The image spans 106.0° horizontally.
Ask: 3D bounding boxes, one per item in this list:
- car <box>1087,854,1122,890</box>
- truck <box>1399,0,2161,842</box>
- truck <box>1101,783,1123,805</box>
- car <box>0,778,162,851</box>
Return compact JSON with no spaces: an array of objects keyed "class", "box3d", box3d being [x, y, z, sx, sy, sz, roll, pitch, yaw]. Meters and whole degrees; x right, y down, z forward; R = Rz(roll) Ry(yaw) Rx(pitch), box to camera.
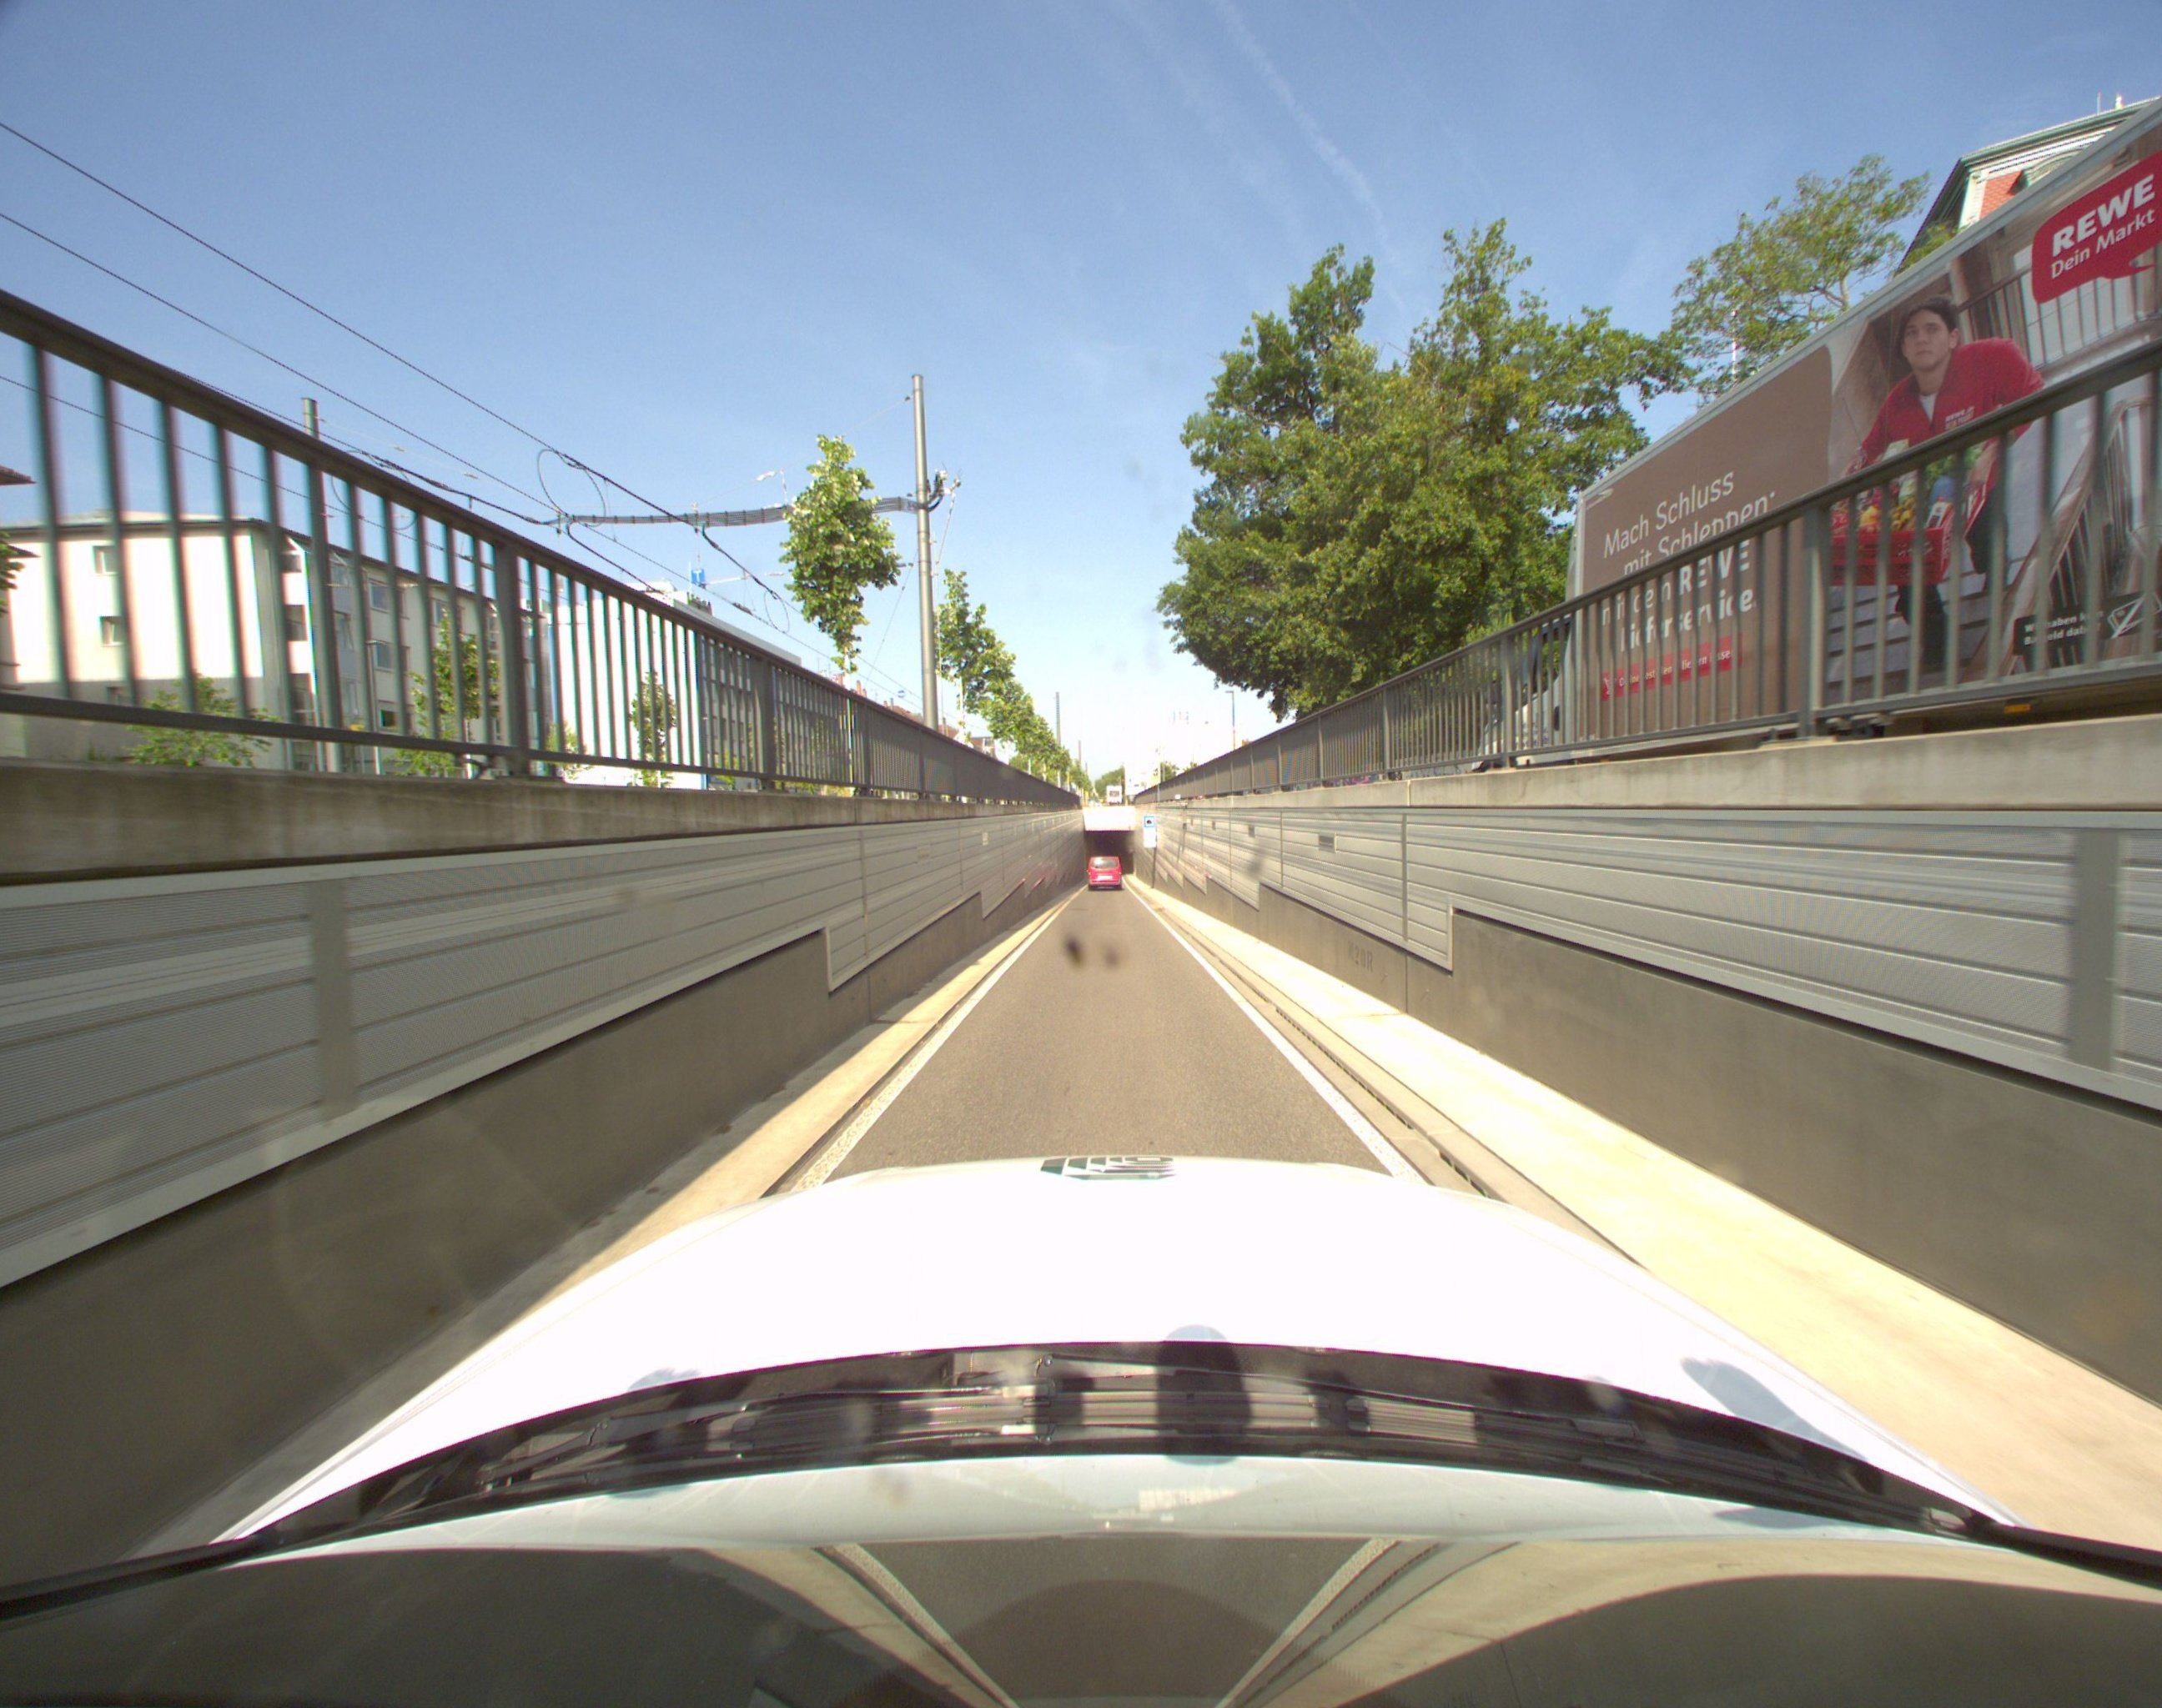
[{"class":"car","box3d":[1.320,0.971,45.617,1.894,1.859,4.002,0,1,1]},{"class":"truck","box3d":[5.205,-1.754,6.553,2.492,3.060,7.827,0,3,2]},{"class":"truck","box3d":[5.531,-10.711,146.601,3.380,3.725,10.451,-2,3,-1]},{"class":"car","box3d":[-30.913,-1.122,23.724,2.242,2.013,5.264,0,2,1]}]
